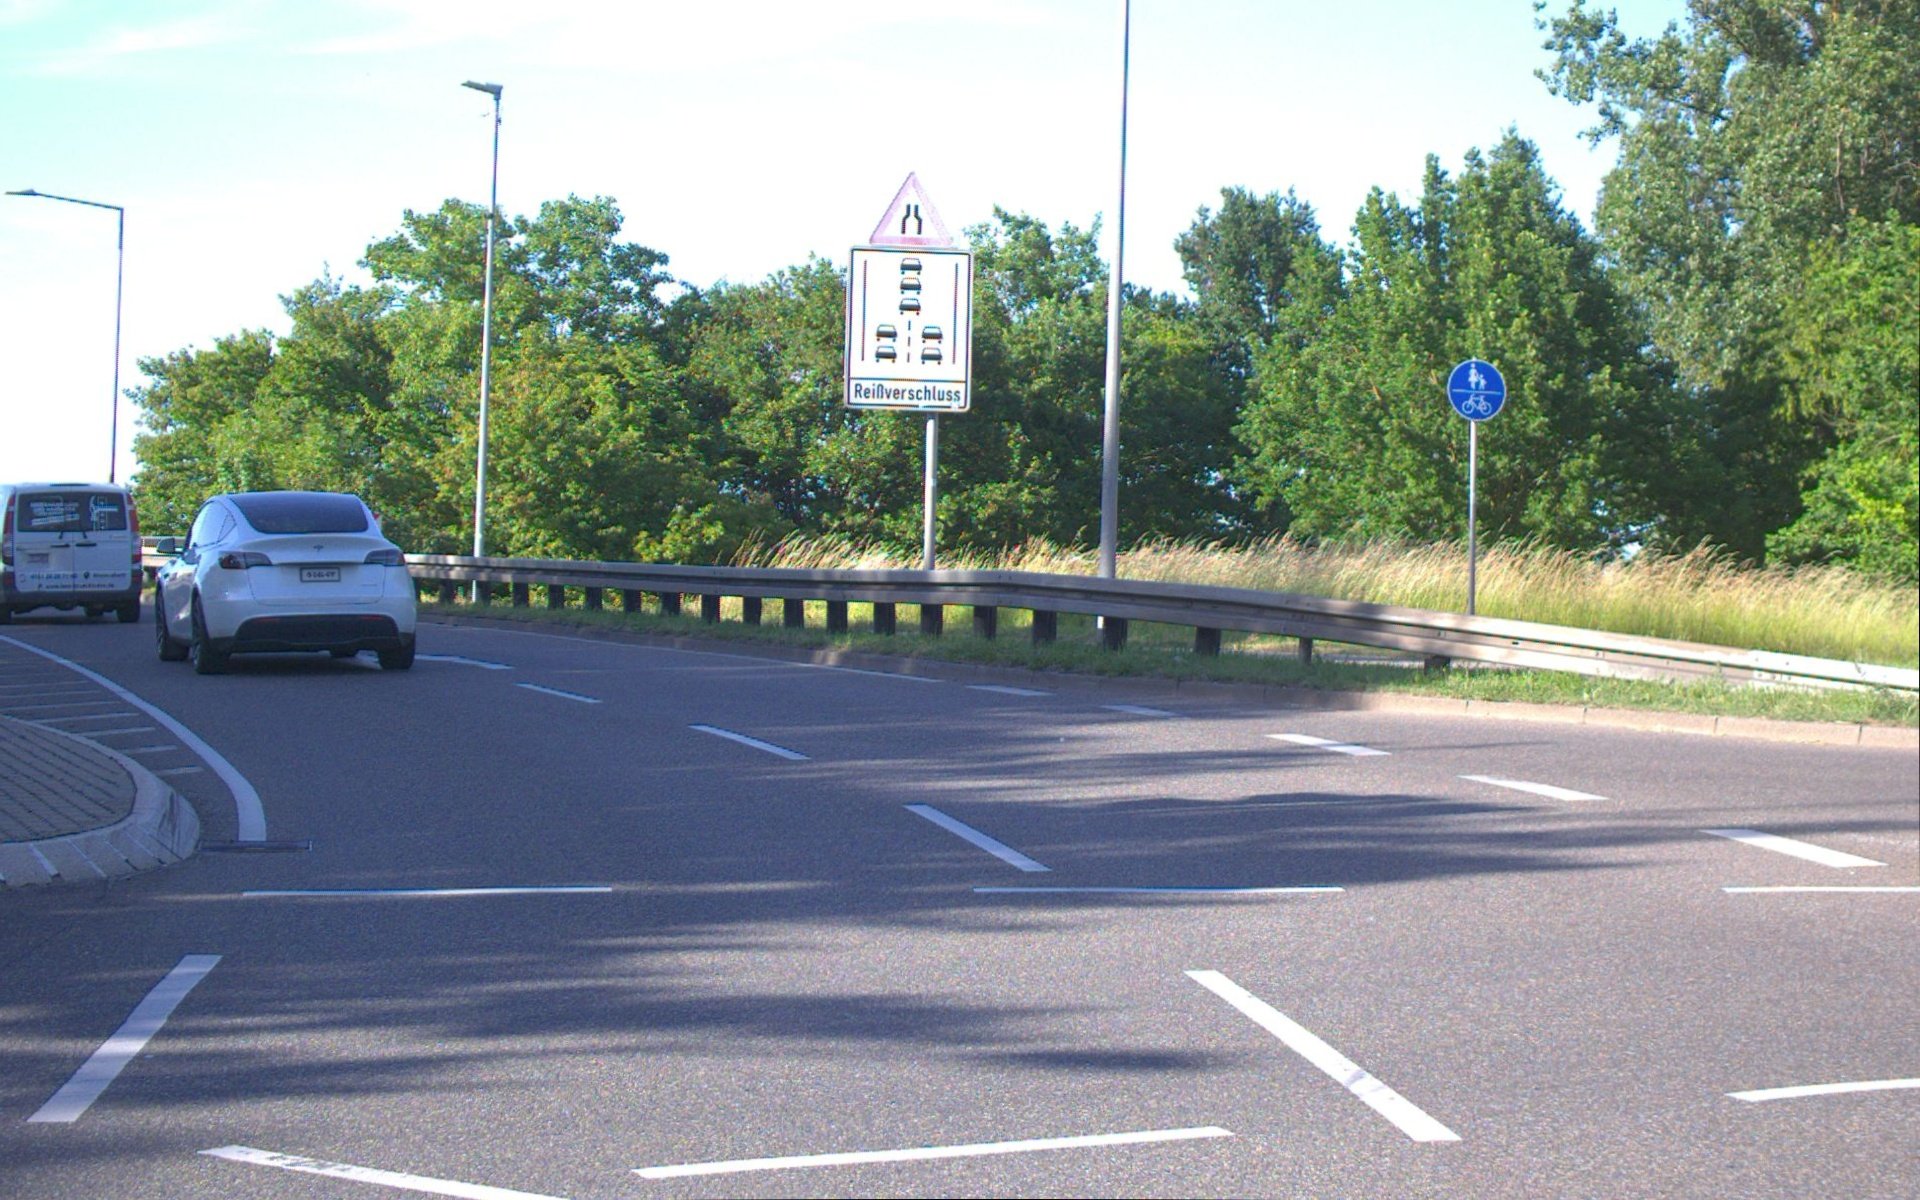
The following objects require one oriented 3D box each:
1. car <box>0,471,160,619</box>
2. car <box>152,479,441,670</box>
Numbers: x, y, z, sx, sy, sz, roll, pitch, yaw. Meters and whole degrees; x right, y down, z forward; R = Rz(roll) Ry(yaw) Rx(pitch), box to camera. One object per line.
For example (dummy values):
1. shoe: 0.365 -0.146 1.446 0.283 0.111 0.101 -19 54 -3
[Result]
1. car: -12.151 -0.743 46.294 1.993 1.873 4.250 1 1 -23
2. car: -6.213 -0.257 31.844 1.993 1.634 4.129 1 1 -20
